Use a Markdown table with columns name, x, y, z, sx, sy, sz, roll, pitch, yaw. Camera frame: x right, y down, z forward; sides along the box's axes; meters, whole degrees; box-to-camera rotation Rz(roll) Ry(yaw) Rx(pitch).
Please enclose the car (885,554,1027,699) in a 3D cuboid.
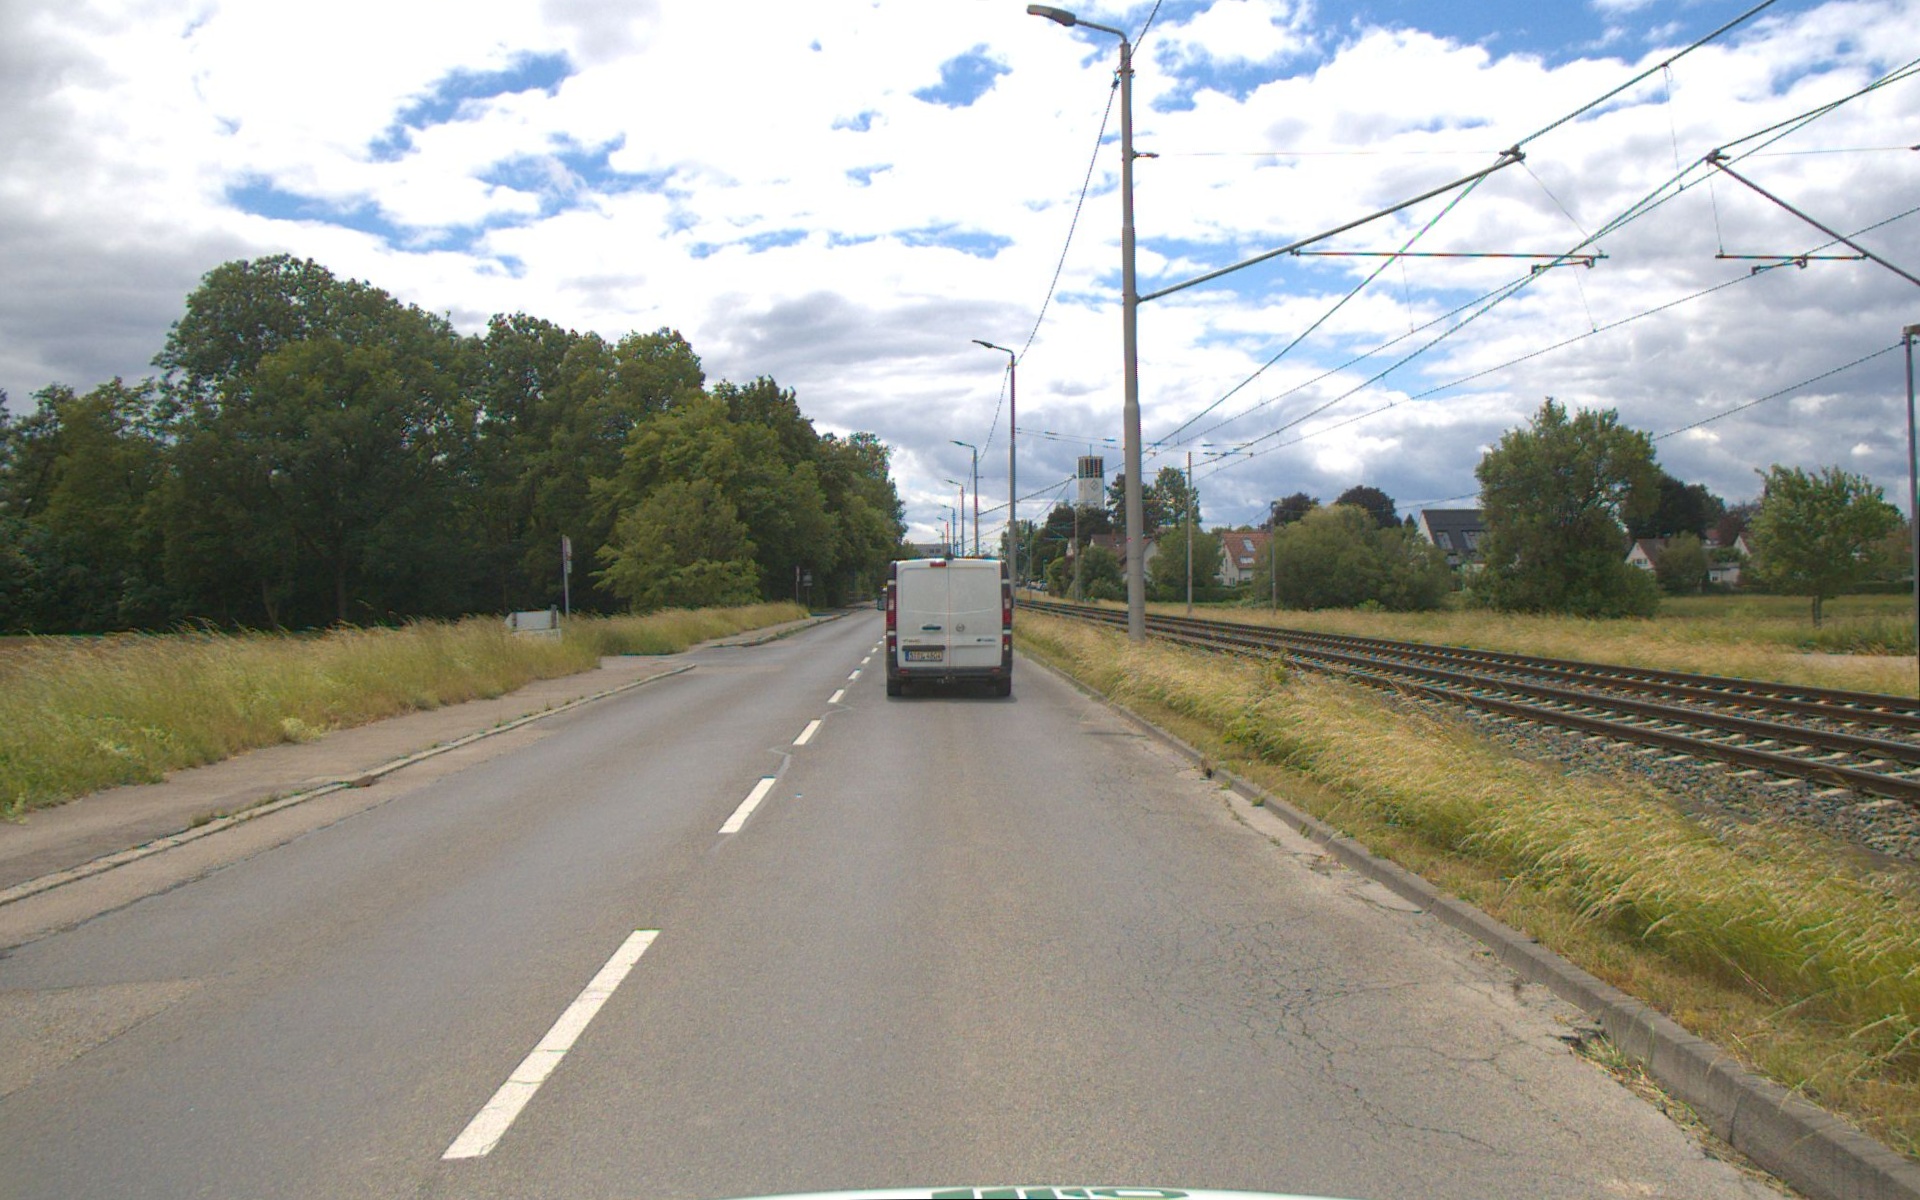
| name | x | y | z | sx | sy | sz | roll | pitch | yaw |
| --- | --- | --- | --- | --- | --- | --- | --- | --- | --- |
| car | -0.129 | 0.366 | 24.960 | 1.953 | 1.991 | 3.998 | 0 | 0 | -2 |
